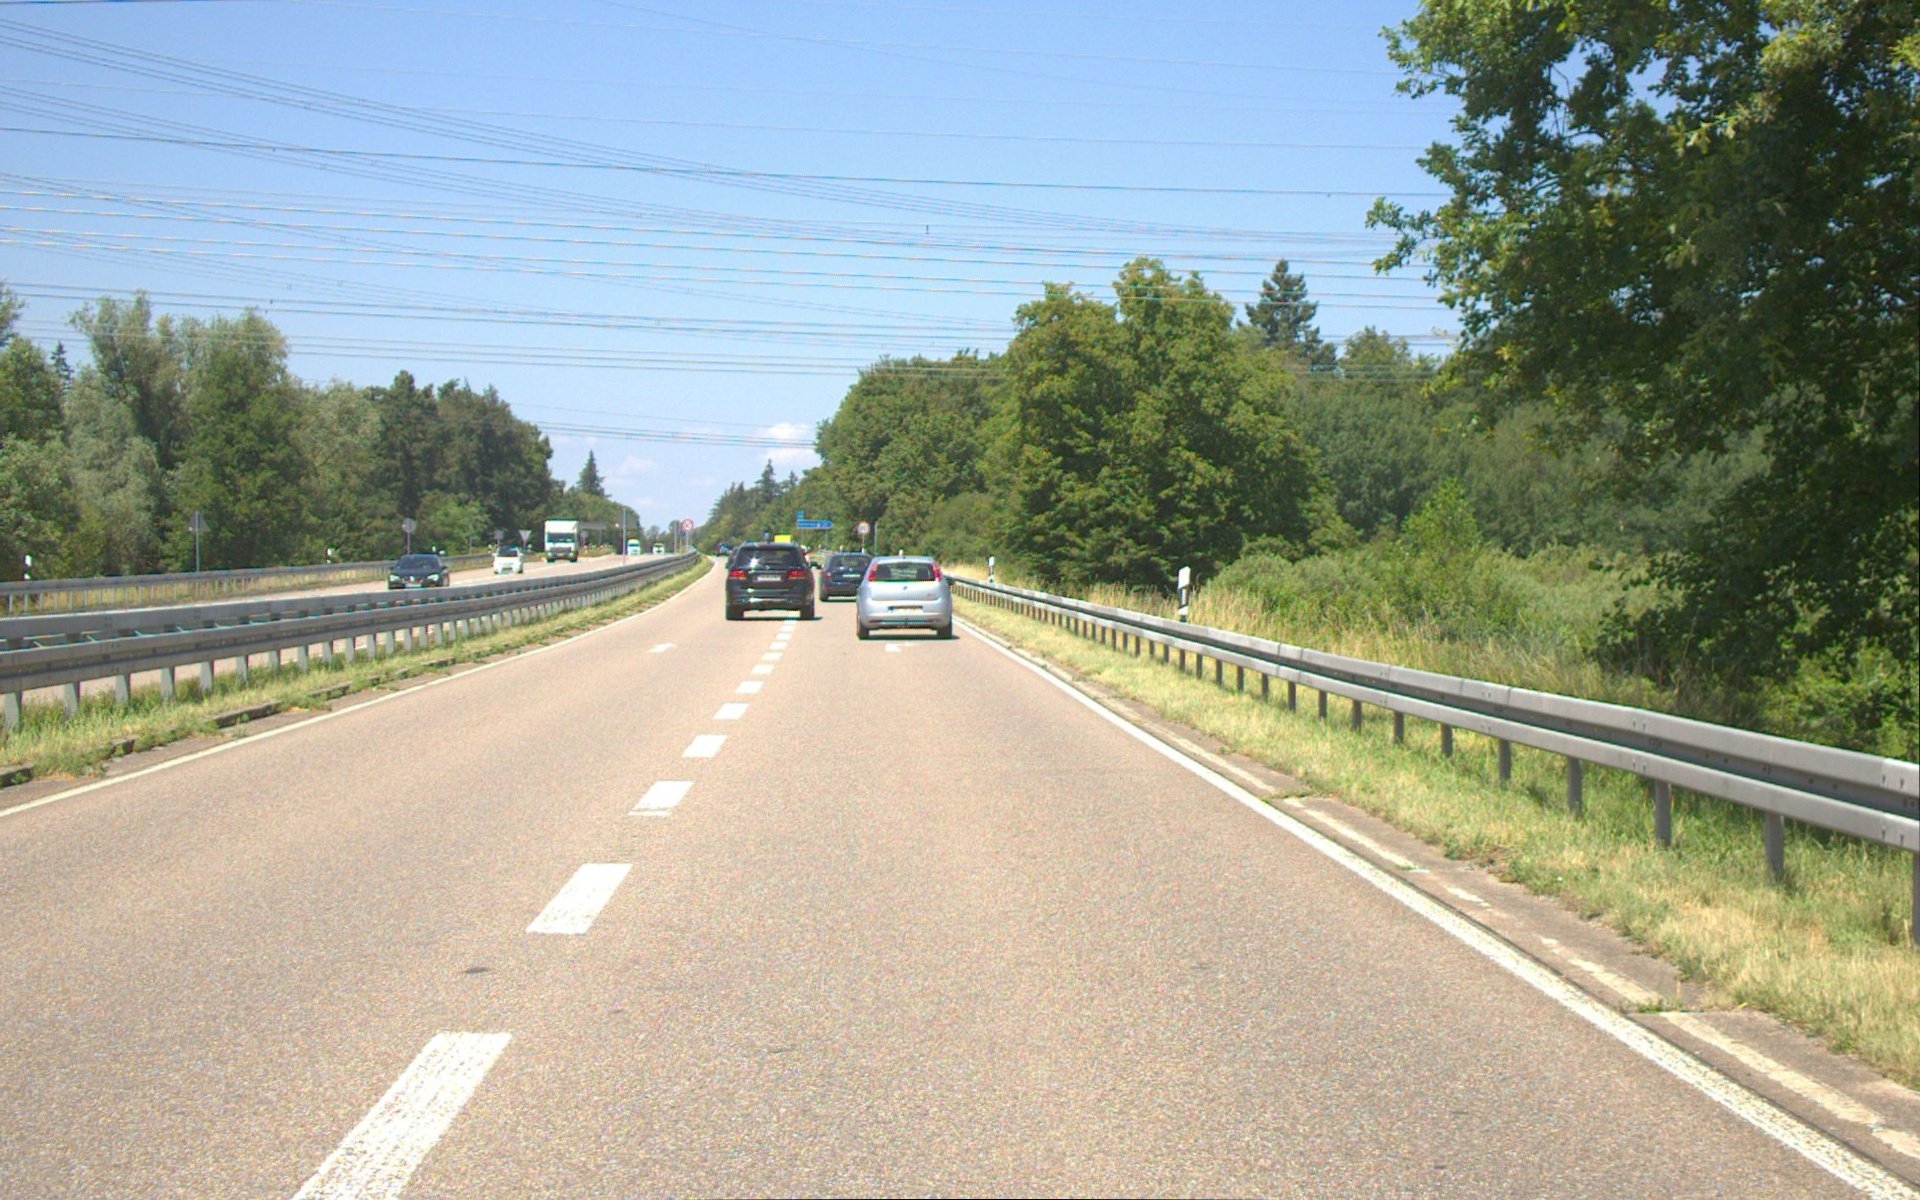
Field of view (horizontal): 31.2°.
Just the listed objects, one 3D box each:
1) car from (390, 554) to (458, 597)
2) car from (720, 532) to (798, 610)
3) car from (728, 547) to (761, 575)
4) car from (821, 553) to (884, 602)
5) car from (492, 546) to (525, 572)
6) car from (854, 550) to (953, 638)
[{"bbox_3d":[-18.056,-0.824,115.898,1.844,1.408,4.681,0,1,-3],"label":"car"},{"bbox_3d":[-4.524,-0.663,77.721,1.640,1.648,3.574,3,1,-2],"label":"car"},{"bbox_3d":[-12.154,-2.203,193.839,1.712,1.466,3.574,2,1,-4],"label":"car"},{"bbox_3d":[-3.162,-0.678,101.365,1.640,1.338,3.574,3,1,1],"label":"car"},{"bbox_3d":[-25.499,-2.324,194.060,1.533,1.444,3.702,0,1,-3],"label":"car"},{"bbox_3d":[-1.028,-0.126,61.537,1.640,1.463,3.419,3,1,-2],"label":"car"}]
